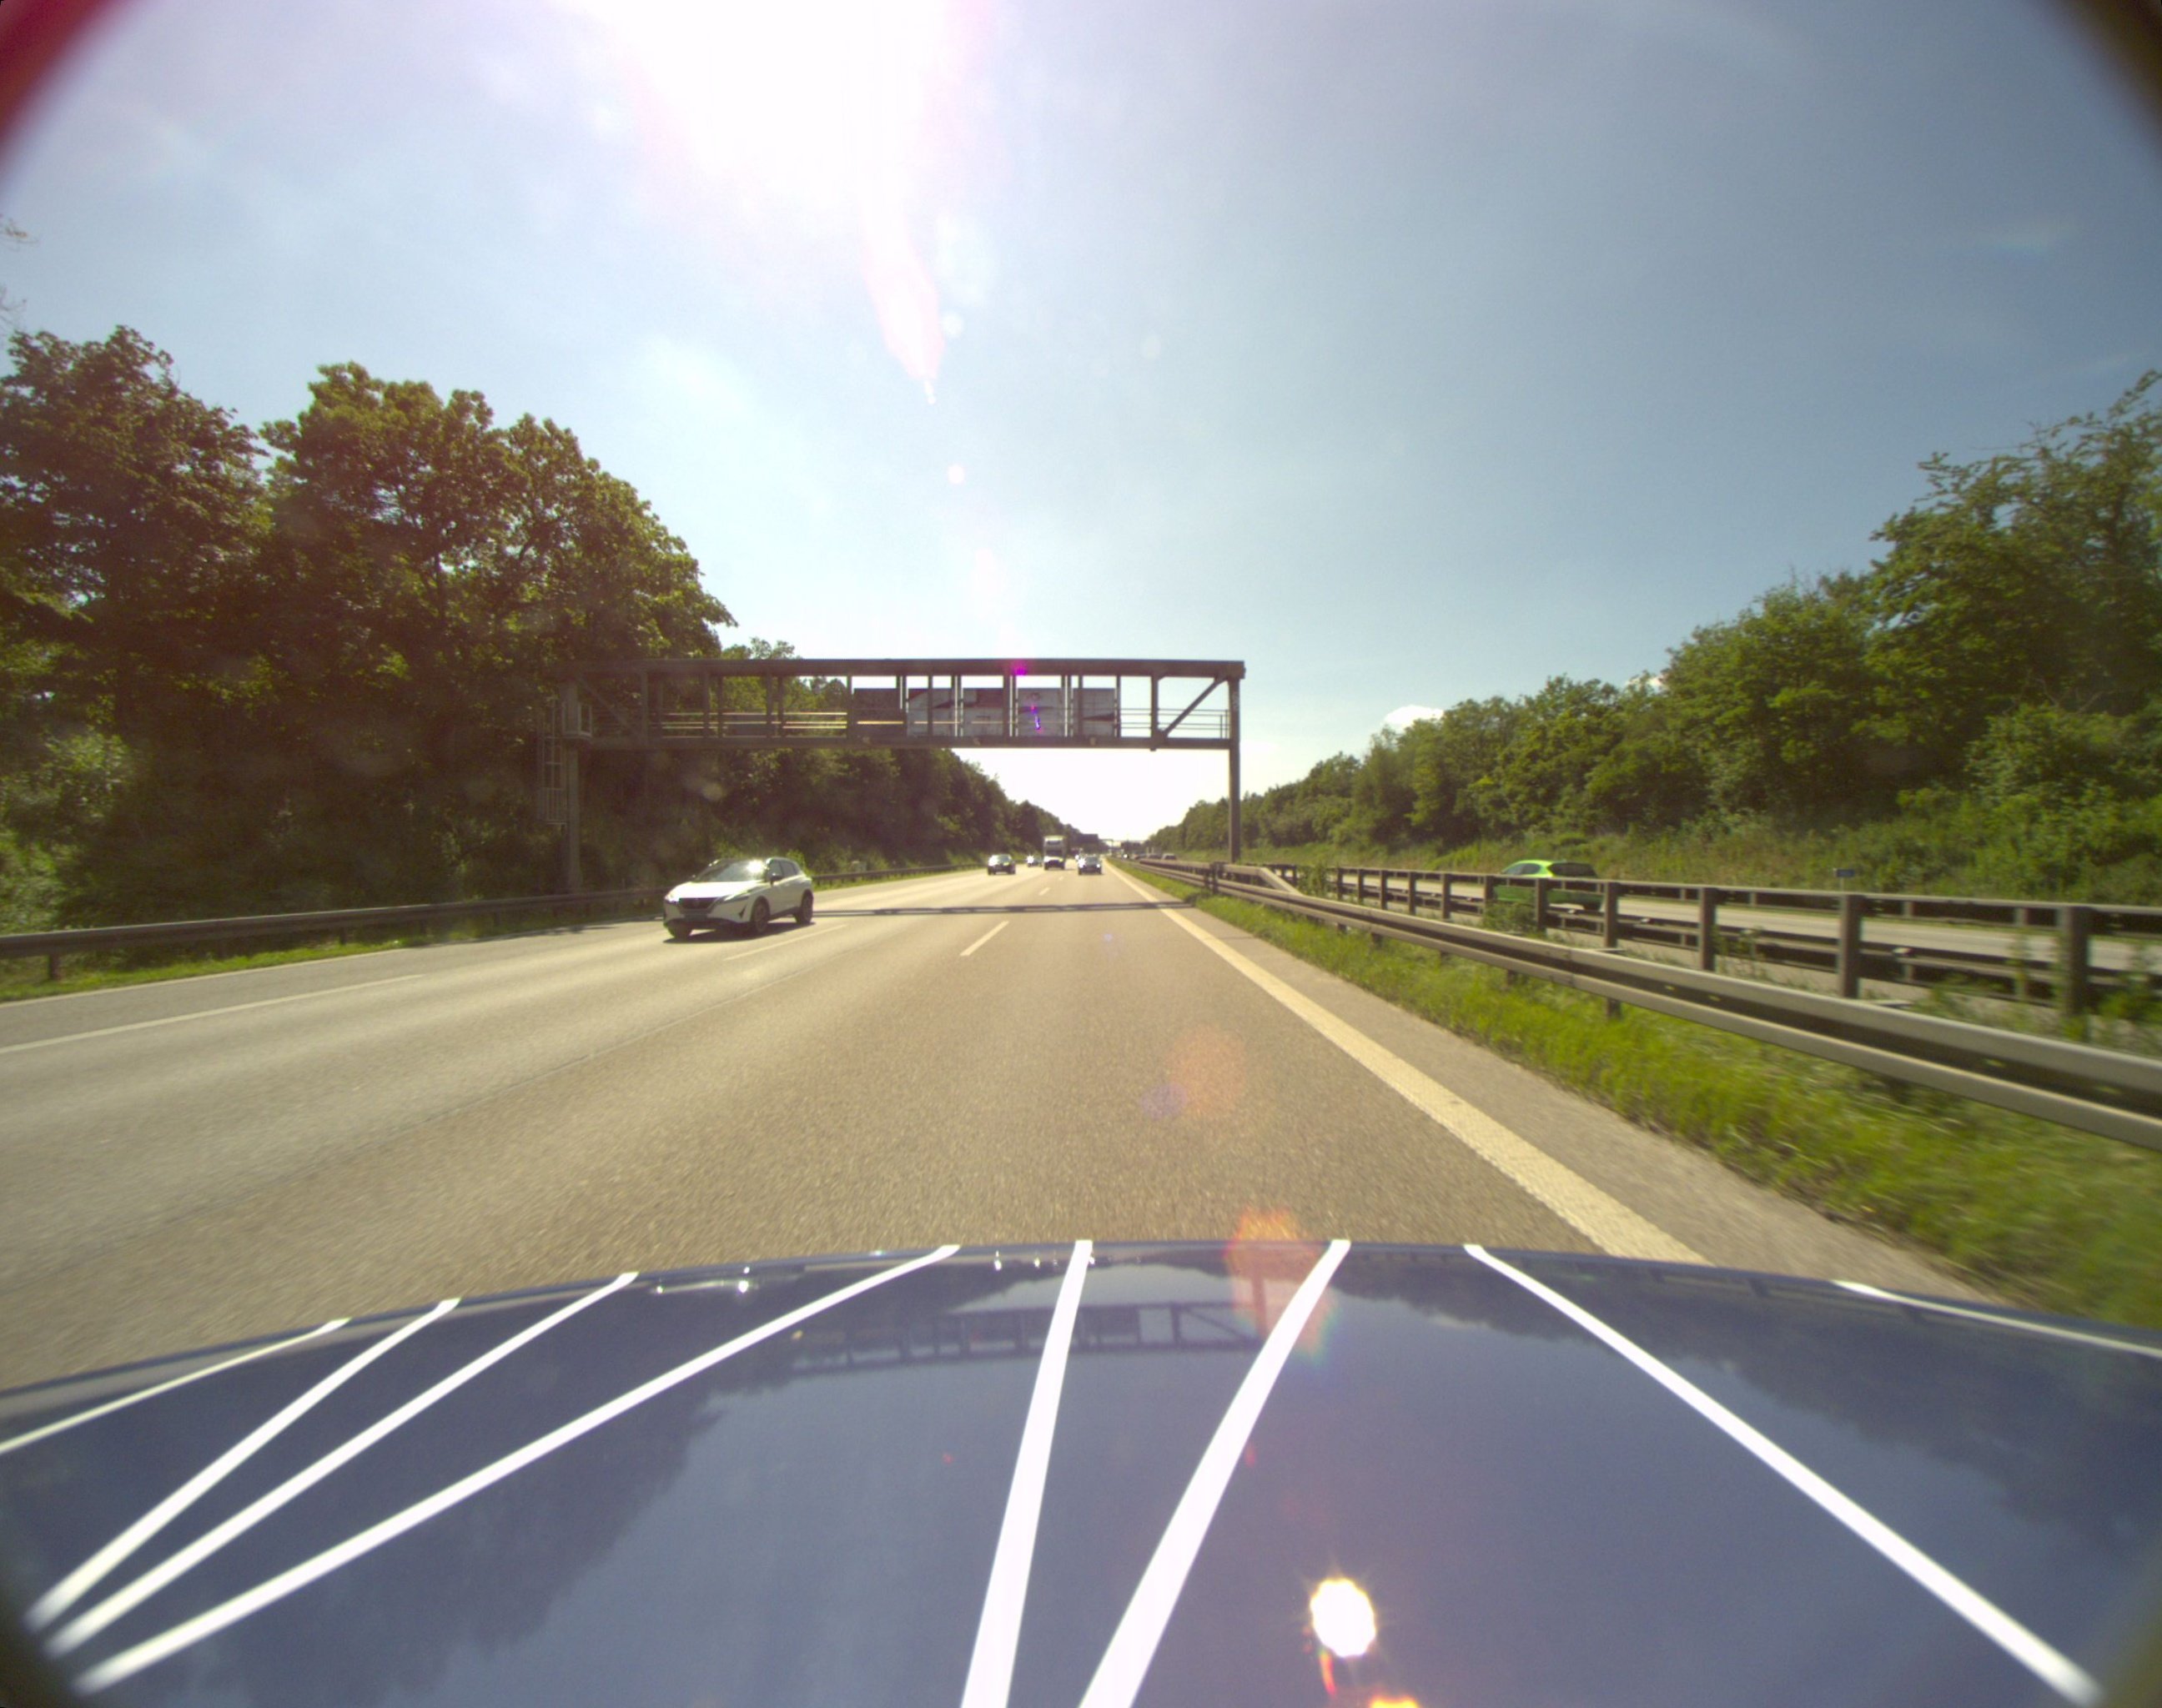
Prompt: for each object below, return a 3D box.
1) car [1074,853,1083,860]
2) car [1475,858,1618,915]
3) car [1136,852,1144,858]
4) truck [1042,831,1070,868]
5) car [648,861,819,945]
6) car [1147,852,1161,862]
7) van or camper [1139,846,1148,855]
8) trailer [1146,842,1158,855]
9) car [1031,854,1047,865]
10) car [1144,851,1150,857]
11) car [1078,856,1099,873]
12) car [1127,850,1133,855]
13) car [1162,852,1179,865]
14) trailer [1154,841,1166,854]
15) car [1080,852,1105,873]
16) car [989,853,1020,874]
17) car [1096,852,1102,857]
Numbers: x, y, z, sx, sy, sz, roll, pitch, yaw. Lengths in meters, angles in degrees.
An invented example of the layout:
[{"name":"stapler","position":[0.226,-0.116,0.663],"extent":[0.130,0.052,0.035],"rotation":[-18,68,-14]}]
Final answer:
[{"name":"car","position":[-0.544,0.567,170.358],"extent":[1.831,1.346,3.679],"rotation":[1,0,1]},{"name":"car","position":[13.763,0.891,22.796],"extent":[1.661,1.469,4.320],"rotation":[2,0,1]},{"name":"car","position":[13.765,0.288,176.950],"extent":[1.718,1.390,4.149],"rotation":[0,0,1]},{"name":"truck","position":[-2.555,-0.464,80.074],"extent":[2.676,3.661,6.484],"rotation":[0,0,1]},{"name":"car","position":[-7.483,0.973,16.858],"extent":[1.848,1.559,4.035],"rotation":[-2,0,1]},{"name":"car","position":[12.303,0.555,128.513],"extent":[1.811,1.632,4.800],"rotation":[2,0,0]},{"name":"van or camper","position":[19.984,-1.168,243.238],"extent":[2.202,2.795,6.798],"rotation":[2,0,2]},{"name":"trailer","position":[23.446,-1.654,250.886],"extent":[2.621,4.034,14.169],"rotation":[2,0,1]},{"name":"car","position":[-5.663,0.770,102.359],"extent":[1.916,1.390,4.138],"rotation":[0,0,1]},{"name":"car","position":[18.805,0.030,216.620],"extent":[1.679,1.487,3.544],"rotation":[0,0,1]},{"name":"car","position":[0.583,0.793,57.445],"extent":[1.537,1.265,2.770],"rotation":[0,0,1]},{"name":"car","position":[14.527,-0.373,224.331],"extent":[1.437,1.519,3.457],"rotation":[0,0,1]},{"name":"car","position":[11.457,0.518,97.807],"extent":[1.766,1.608,4.231],"rotation":[0,0,1]},{"name":"trailer","position":[22.868,-1.843,221.376],"extent":[2.719,3.787,7.692],"rotation":[2,0,1]},{"name":"car","position":[0.845,0.627,57.680],"extent":[1.814,1.483,3.729],"rotation":[0,0,1]},{"name":"car","position":[-6.426,0.779,64.470],"extent":[1.924,1.659,4.687],"rotation":[-1,0,3]},{"name":"car","position":[4.903,0.063,205.421],"extent":[1.591,1.291,3.382],"rotation":[1,0,1]}]
